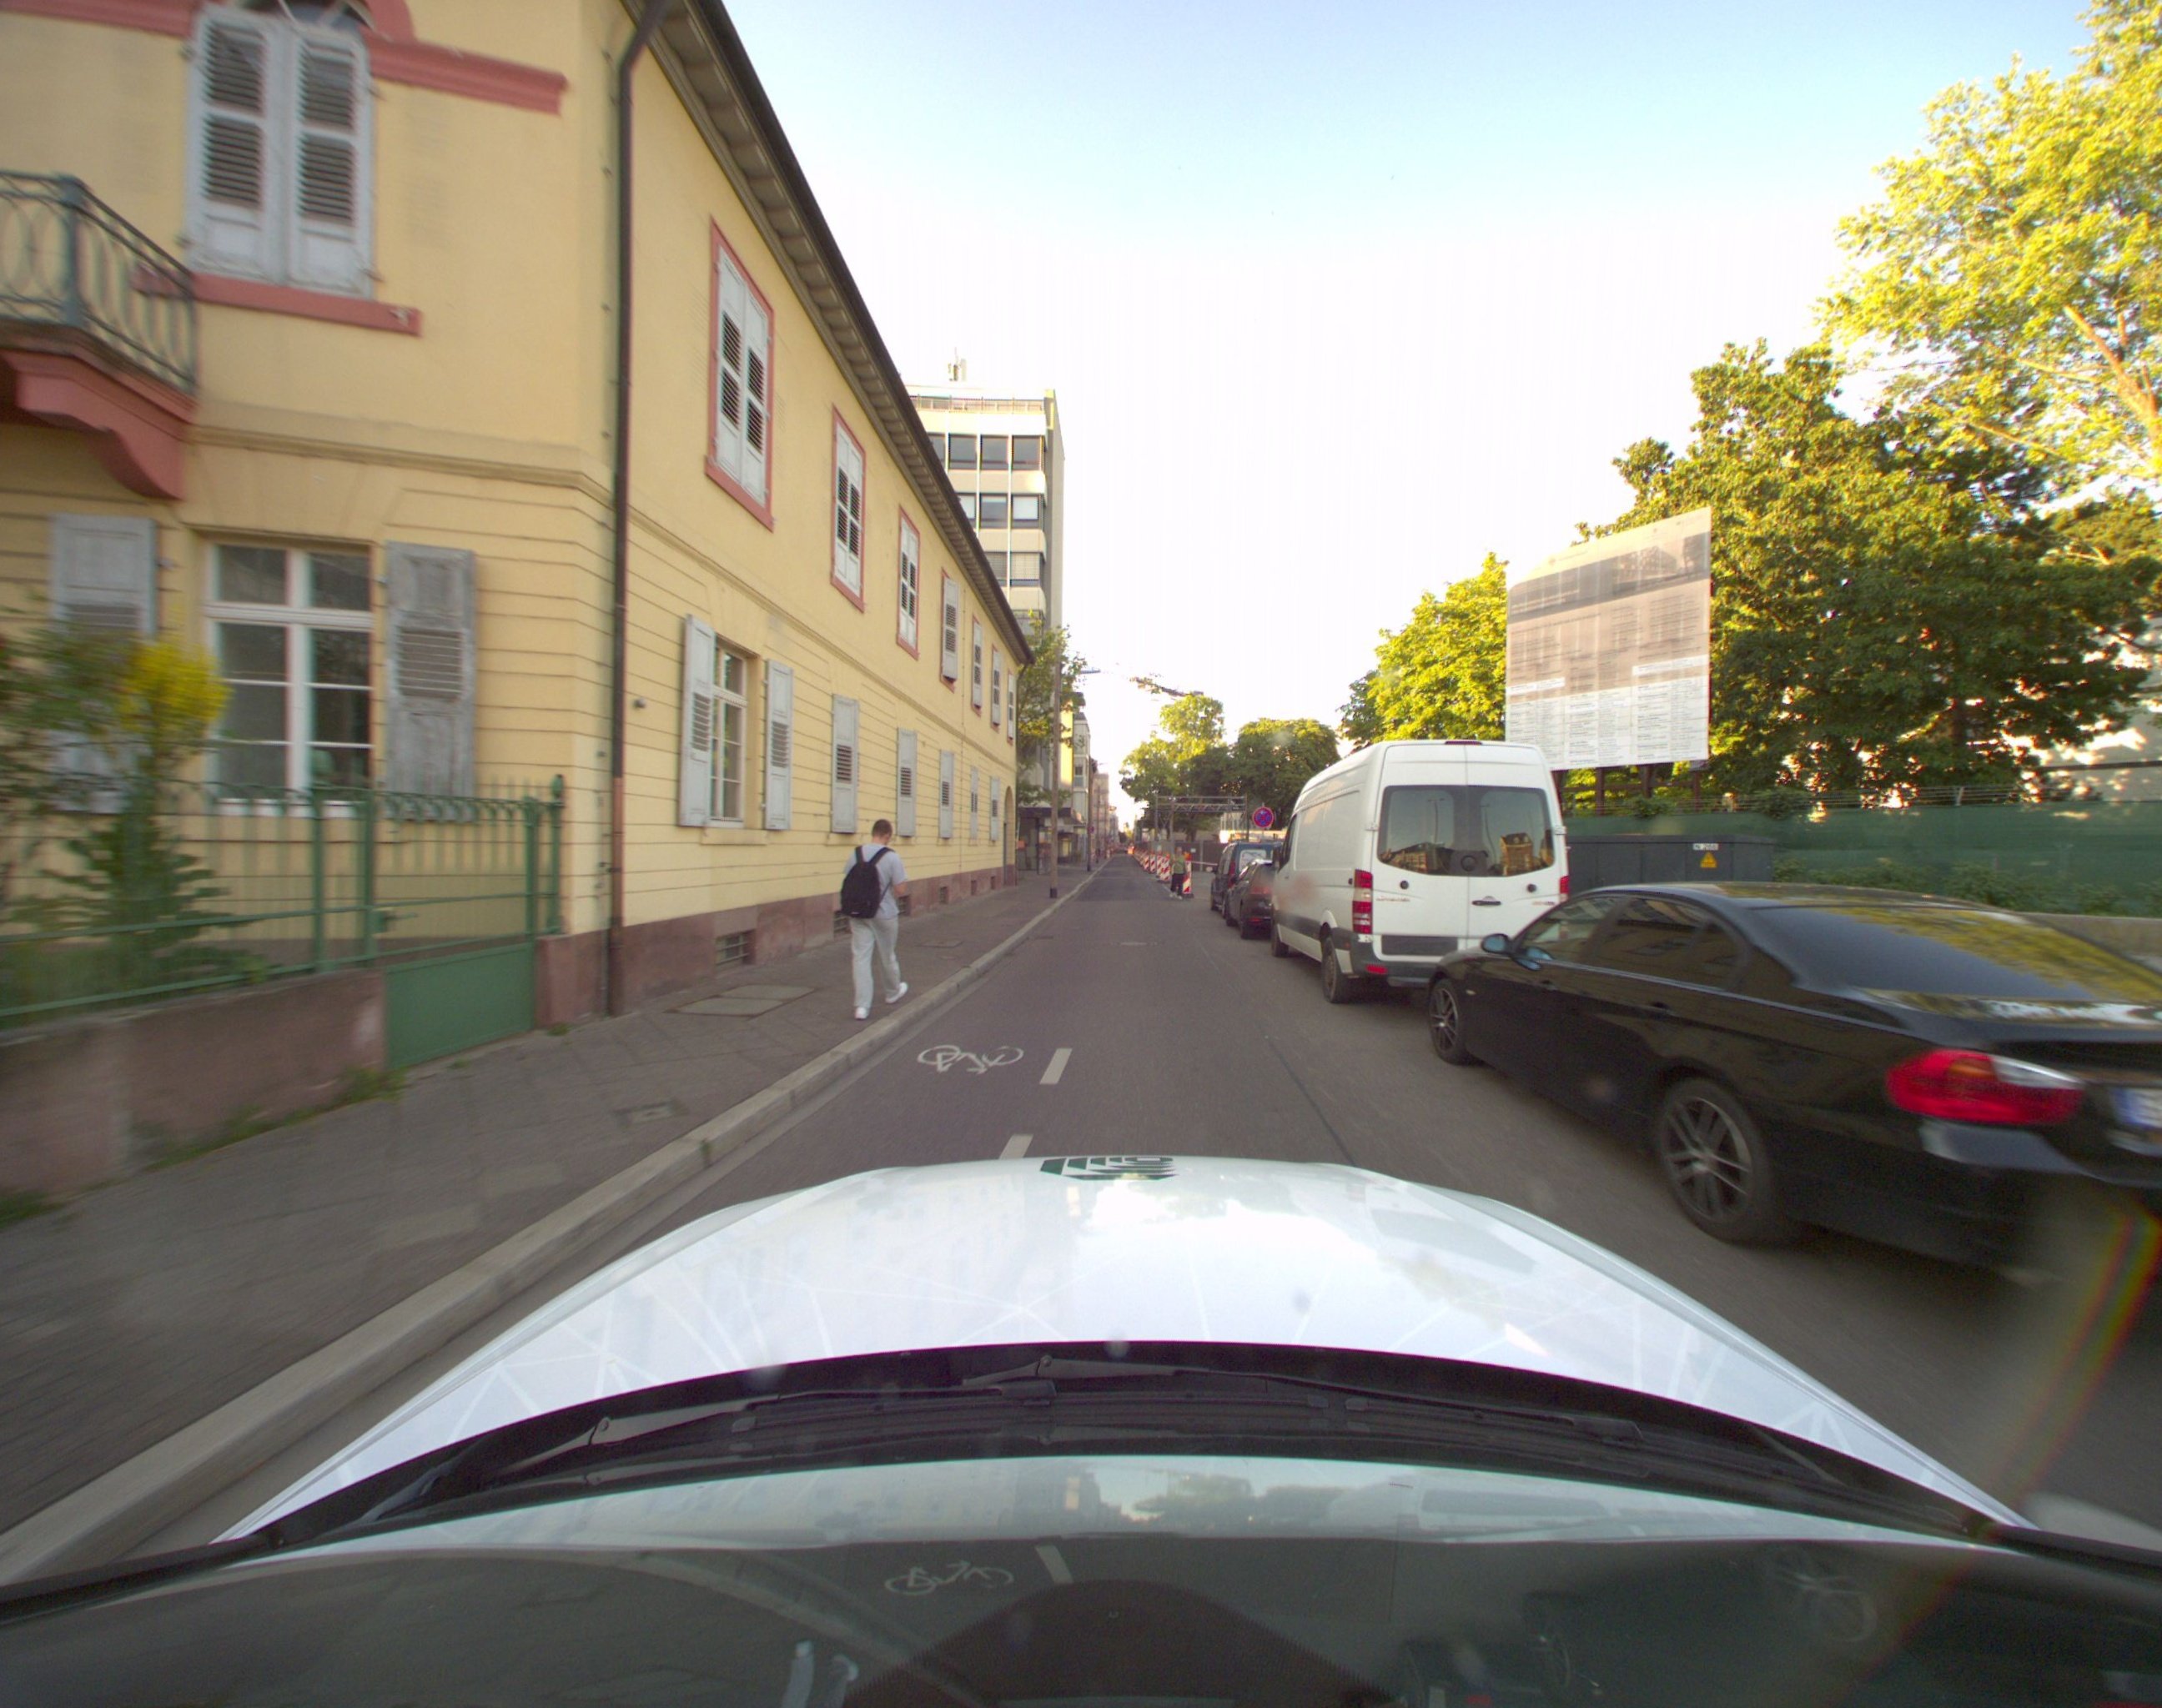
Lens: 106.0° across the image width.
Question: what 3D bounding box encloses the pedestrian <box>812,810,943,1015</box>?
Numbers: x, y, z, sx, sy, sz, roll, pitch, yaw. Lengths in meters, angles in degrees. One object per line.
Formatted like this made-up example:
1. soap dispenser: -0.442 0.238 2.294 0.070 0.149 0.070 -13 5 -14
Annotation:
1. pedestrian: -1.805 0.492 7.351 0.871 1.724 0.831 1 0 7

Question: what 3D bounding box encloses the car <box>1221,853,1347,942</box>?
1. car: 3.774 0.729 15.807 1.685 1.459 4.103 1 0 4

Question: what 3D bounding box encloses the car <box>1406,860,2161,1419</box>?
1. car: 3.419 0.794 4.411 1.722 1.429 4.477 1 0 3

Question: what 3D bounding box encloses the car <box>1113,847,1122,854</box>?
1. car: 8.201 -0.780 183.252 1.851 1.662 4.003 1 0 3

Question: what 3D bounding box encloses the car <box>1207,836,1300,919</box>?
1. car: 4.211 0.514 20.424 1.705 1.848 4.026 1 0 4

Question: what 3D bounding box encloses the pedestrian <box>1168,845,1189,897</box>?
1. pedestrian: 3.097 0.529 25.956 0.610 1.628 0.820 1 0 6

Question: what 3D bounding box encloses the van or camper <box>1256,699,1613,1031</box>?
1. van or camper: 3.664 0.080 10.092 2.067 2.774 6.458 1 0 5

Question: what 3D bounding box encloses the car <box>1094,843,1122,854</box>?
1. car: 3.742 -0.768 114.072 3.734 1.459 1.696 1 0 -3
